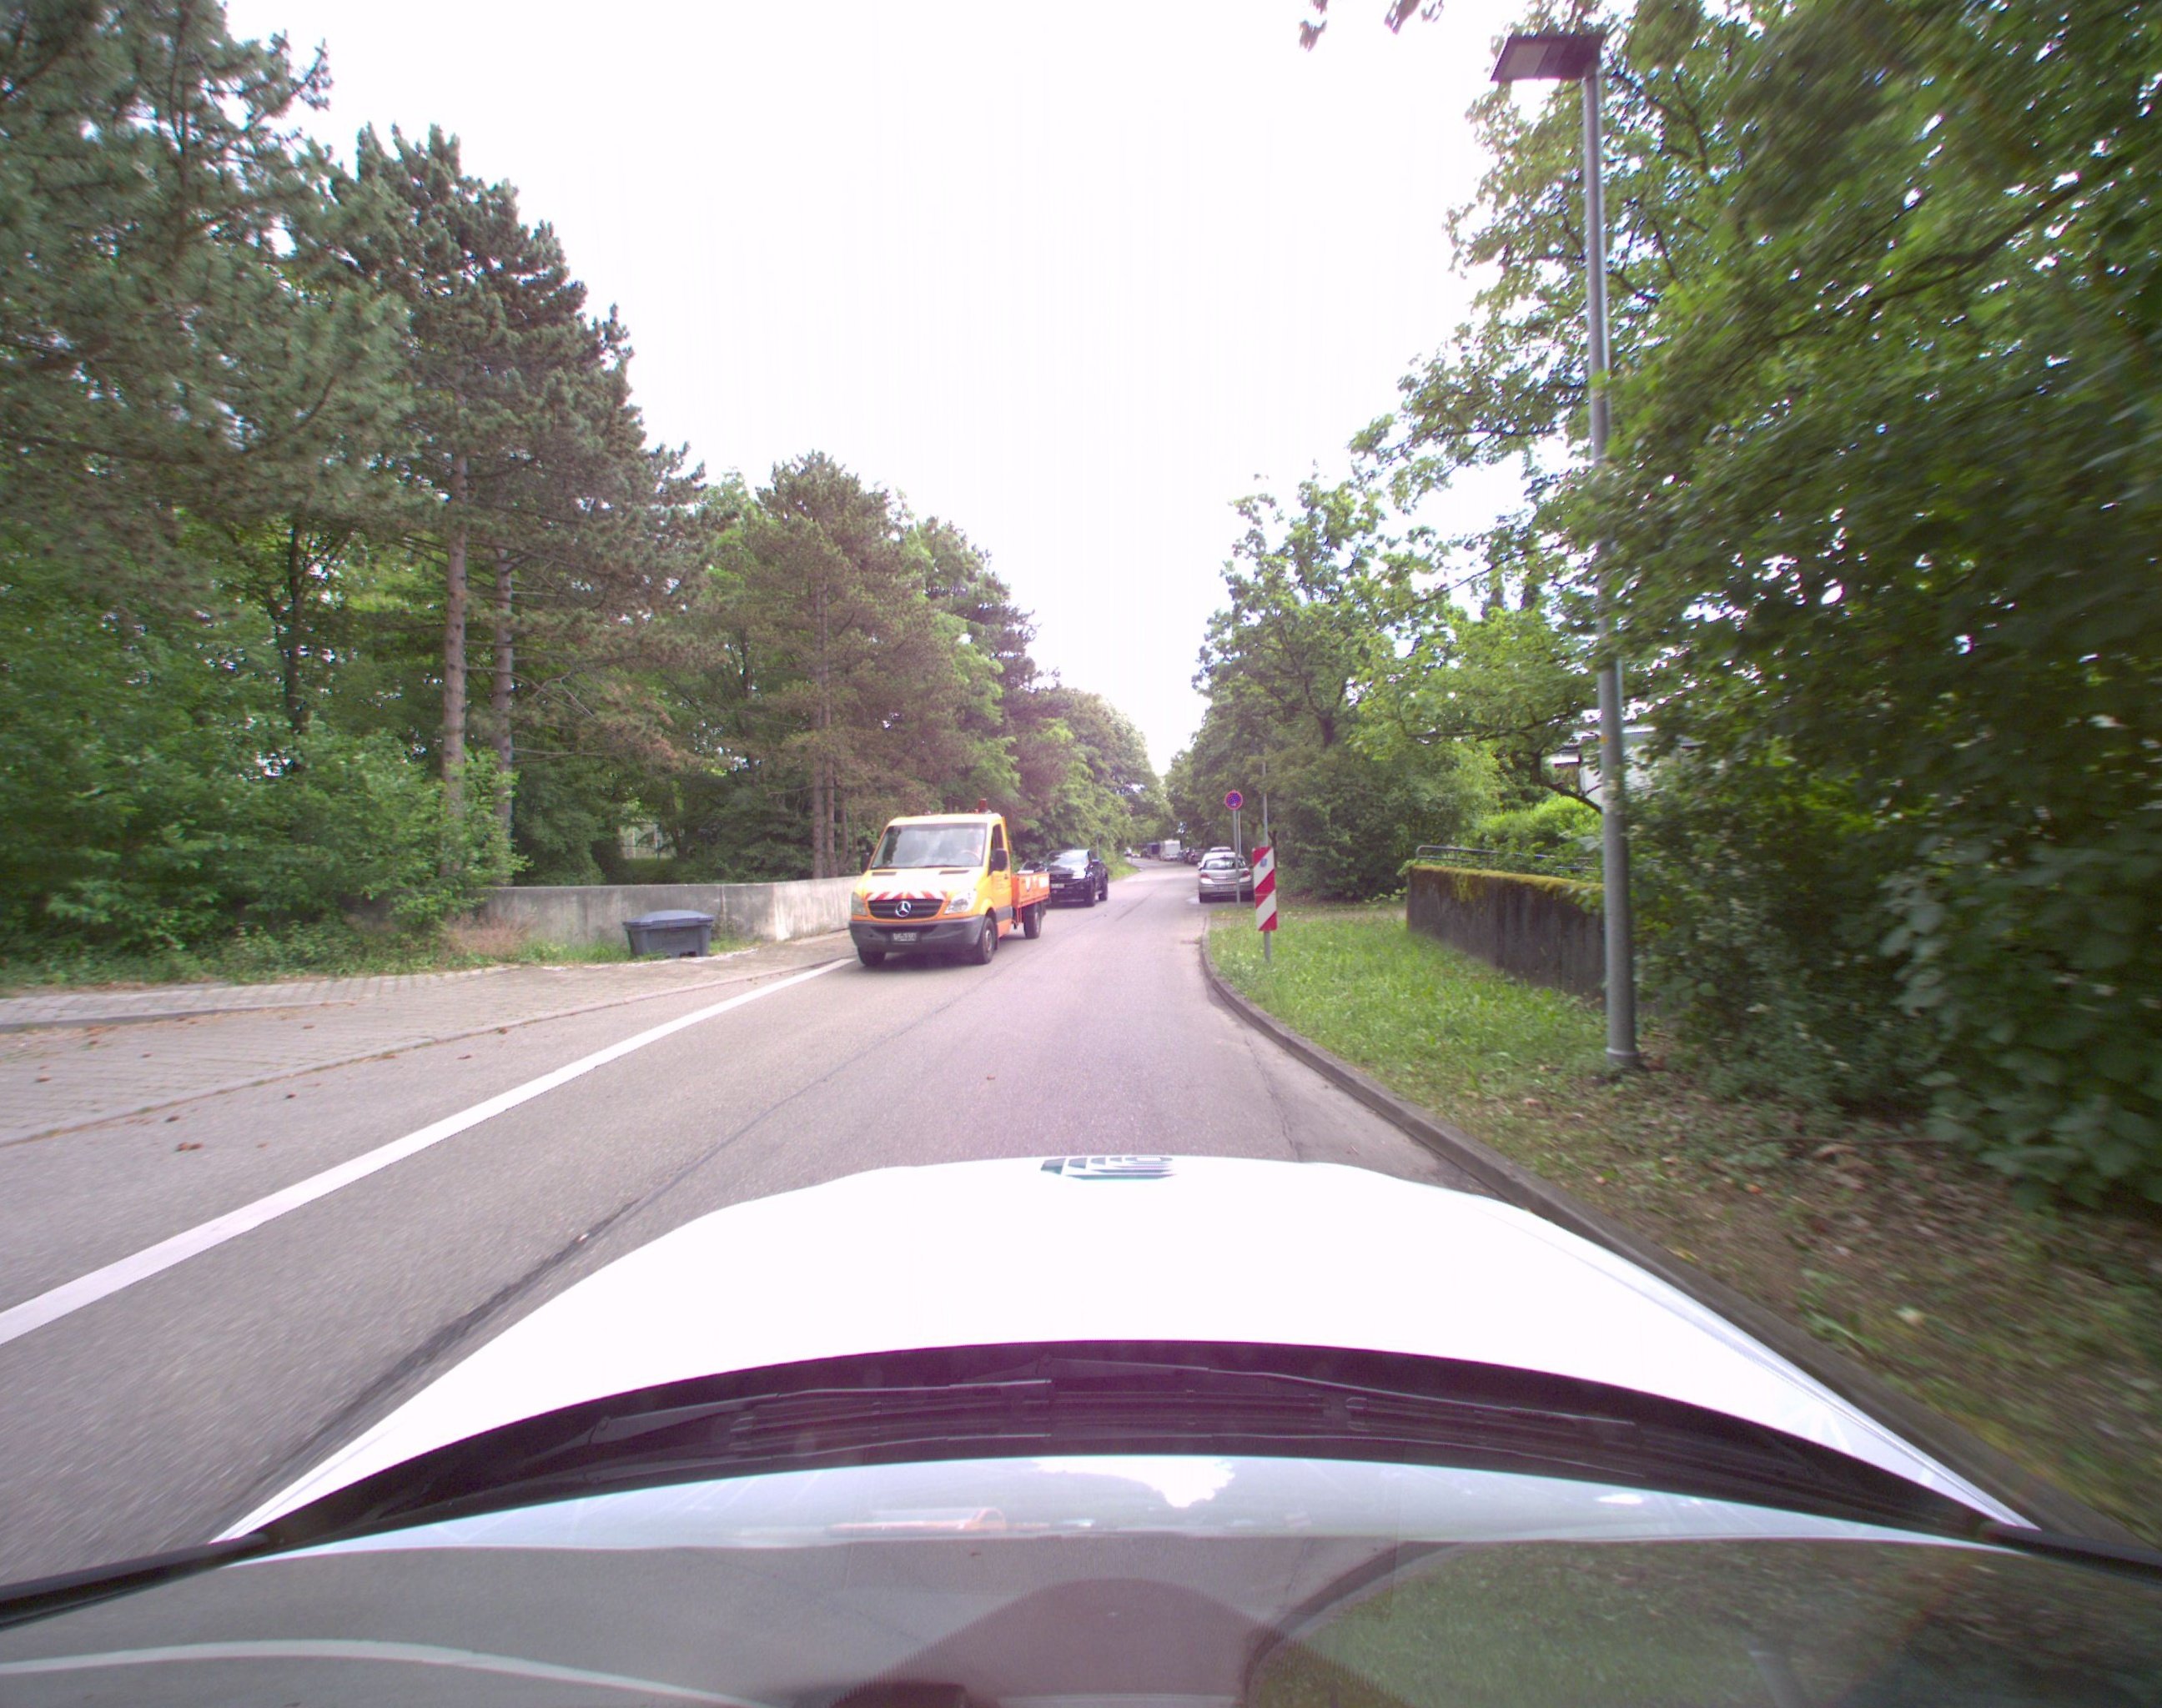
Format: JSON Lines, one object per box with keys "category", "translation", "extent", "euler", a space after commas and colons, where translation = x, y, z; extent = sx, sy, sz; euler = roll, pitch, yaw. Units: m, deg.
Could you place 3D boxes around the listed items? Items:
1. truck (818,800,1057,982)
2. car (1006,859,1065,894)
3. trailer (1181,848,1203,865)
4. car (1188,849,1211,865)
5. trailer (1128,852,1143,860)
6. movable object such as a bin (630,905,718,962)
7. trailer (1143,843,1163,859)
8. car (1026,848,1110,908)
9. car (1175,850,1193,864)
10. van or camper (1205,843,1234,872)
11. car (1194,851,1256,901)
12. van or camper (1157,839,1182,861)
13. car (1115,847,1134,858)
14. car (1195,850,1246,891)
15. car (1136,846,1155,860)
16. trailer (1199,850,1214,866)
{"category": "truck", "translation": [-2.085, 0.483, 14.184], "extent": [2.309, 2.470, 6.034], "euler": [0, 0, 8]}
{"category": "car", "translation": [-1.944, 0.944, 36.356], "extent": [1.795, 1.403, 4.382], "euler": [-1, 0, 8]}
{"category": "trailer", "translation": [13.252, 0.276, 97.542], "extent": [1.972, 1.811, 5.150], "euler": [-3, 1, 1]}
{"category": "car", "translation": [13.258, 0.346, 91.295], "extent": [1.786, 1.670, 4.500], "euler": [-3, -1, 0]}
{"category": "trailer", "translation": [9.124, 0.335, 137.471], "extent": [1.651, 1.086, 3.988], "euler": [-5, 1, -9]}
{"category": "movable object such as a bin", "translation": [-6.215, 1.187, 12.433], "extent": [1.151, 0.760, 1.039], "euler": [1, -2, -29]}
{"category": "trailer", "translation": [11.264, -0.527, 128.127], "extent": [1.995, 2.398, 3.985], "euler": [-2, 0, -11]}
{"category": "car", "translation": [-0.301, 0.737, 27.230], "extent": [1.983, 1.735, 5.348], "euler": [-2, 0, 7]}
{"category": "car", "translation": [13.476, 0.376, 106.865], "extent": [1.795, 1.562, 3.833], "euler": [-3, 1, -1]}
{"category": "van or camper", "translation": [9.355, 0.272, 55.371], "extent": [1.792, 1.838, 4.330], "euler": [-2, -2, 8]}
{"category": "car", "translation": [4.702, 0.670, 26.550], "extent": [1.782, 1.411, 4.070], "euler": [-3, 0, 10]}
{"category": "van or camper", "translation": [12.667, -0.558, 117.201], "extent": [2.477, 2.876, 6.881], "euler": [-2, 0, -3]}
{"category": "car", "translation": [7.866, -0.263, 146.691], "extent": [2.040, 1.803, 4.060], "euler": [-3, 1, -17]}
{"category": "car", "translation": [5.748, 0.635, 33.938], "extent": [1.875, 1.507, 5.188], "euler": [-3, 0, 9]}
{"category": "car", "translation": [10.581, -0.135, 133.585], "extent": [1.995, 2.025, 3.984], "euler": [-5, 2, -12]}
{"category": "trailer", "translation": [13.060, 0.419, 84.994], "extent": [1.273, 1.585, 2.463], "euler": [-2, 0, 4]}
